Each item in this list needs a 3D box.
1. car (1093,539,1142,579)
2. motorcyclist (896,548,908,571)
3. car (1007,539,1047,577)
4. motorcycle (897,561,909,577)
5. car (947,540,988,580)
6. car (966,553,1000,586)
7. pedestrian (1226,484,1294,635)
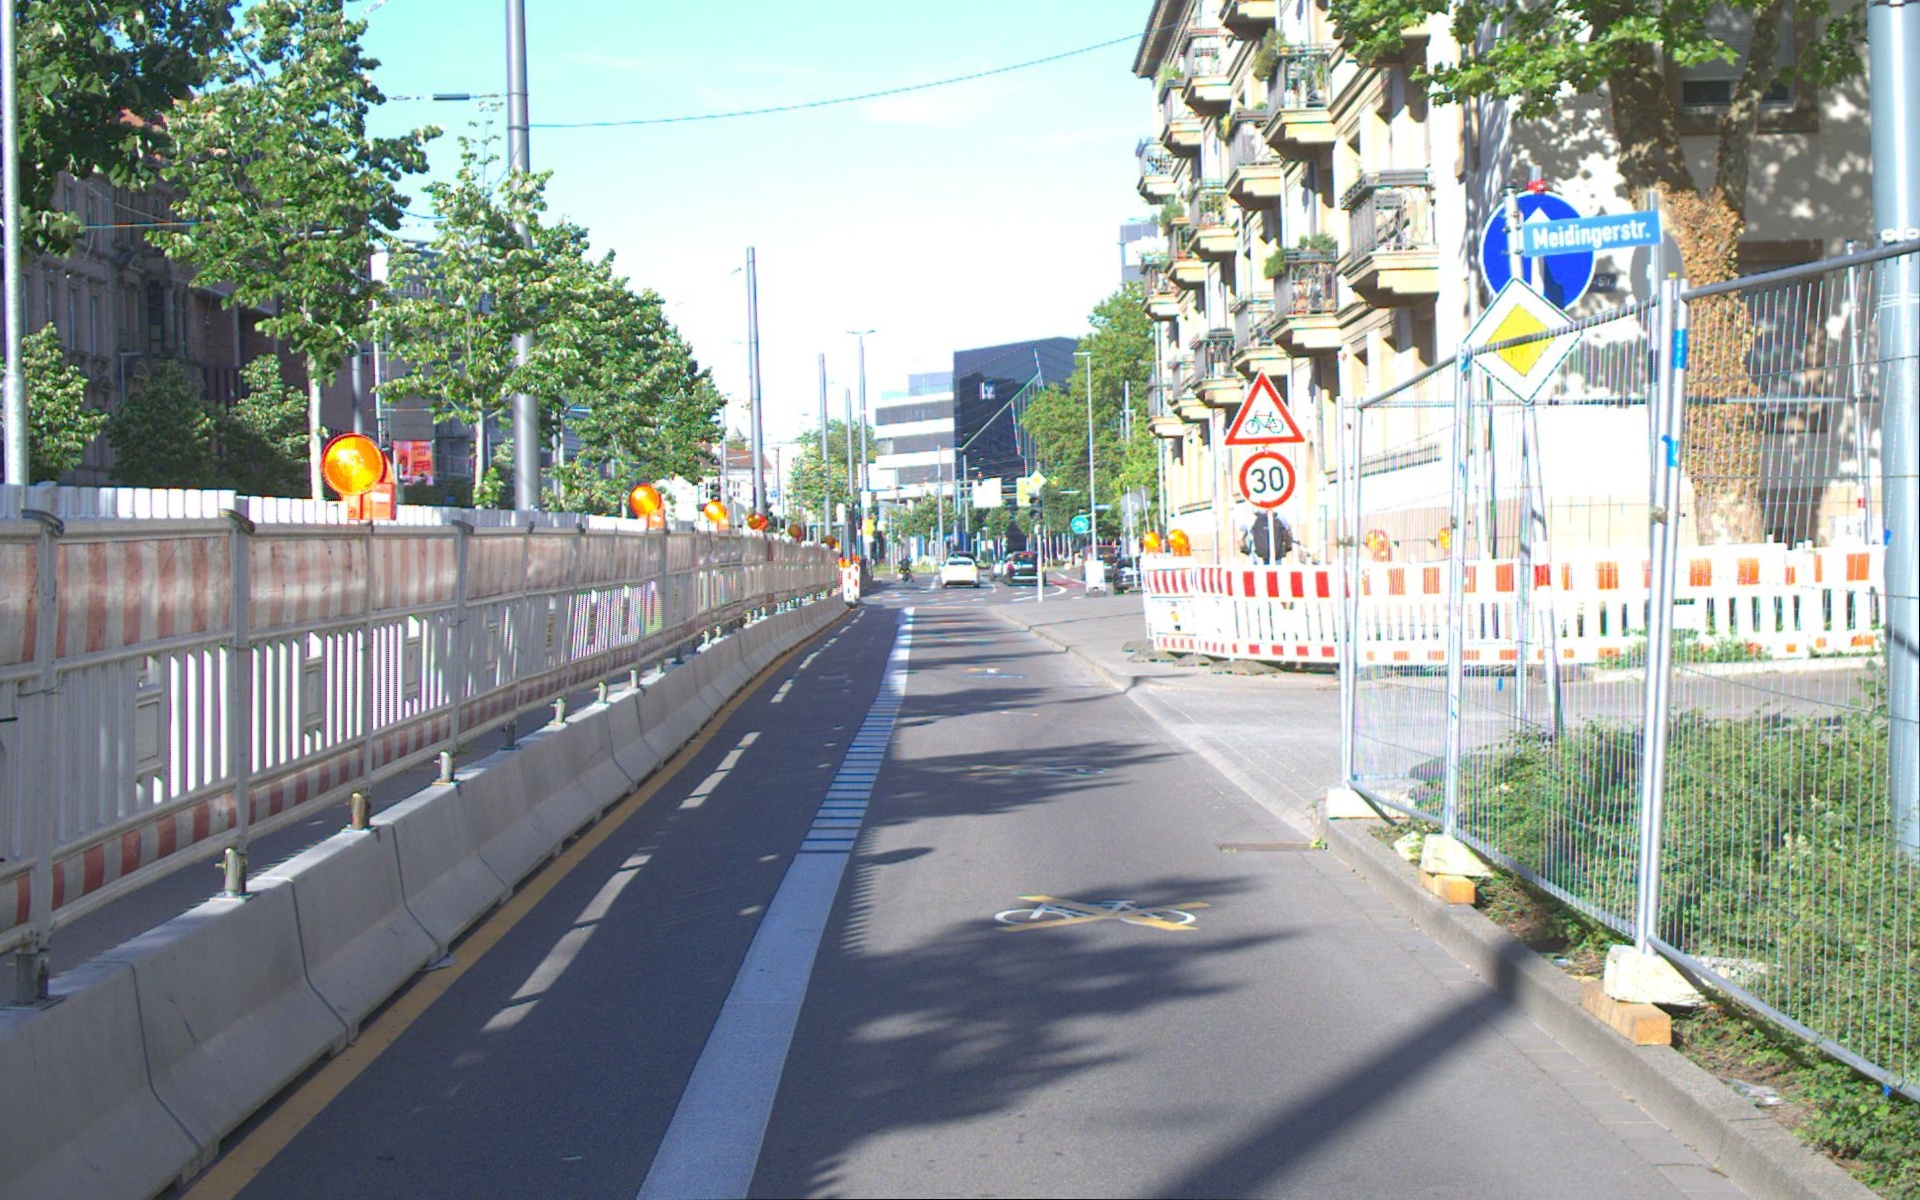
[{"bbox_3d":[6.651,-1.739,145.266,1.883,1.584,3.668,-2,1,0],"label":"car"},{"bbox_3d":[-3.252,-2.274,194.208,0.631,1.258,0.606,-2,1,0],"label":"motorcyclist"},{"bbox_3d":[3.370,-2.114,174.177,1.883,1.836,3.668,-2,1,0],"label":"car"},{"bbox_3d":[-3.234,-1.766,194.145,0.631,0.893,1.621,-2,1,0],"label":"motorcycle"},{"bbox_3d":[0.341,-1.956,166.843,1.883,1.836,3.668,-2,1,0],"label":"car"},{"bbox_3d":[1.339,-1.790,199.282,1.883,1.836,3.668,-2,1,0],"label":"car"},{"bbox_3d":[3.508,-0.478,40.273,0.669,1.740,0.778,-2,1,-1],"label":"pedestrian"}]
